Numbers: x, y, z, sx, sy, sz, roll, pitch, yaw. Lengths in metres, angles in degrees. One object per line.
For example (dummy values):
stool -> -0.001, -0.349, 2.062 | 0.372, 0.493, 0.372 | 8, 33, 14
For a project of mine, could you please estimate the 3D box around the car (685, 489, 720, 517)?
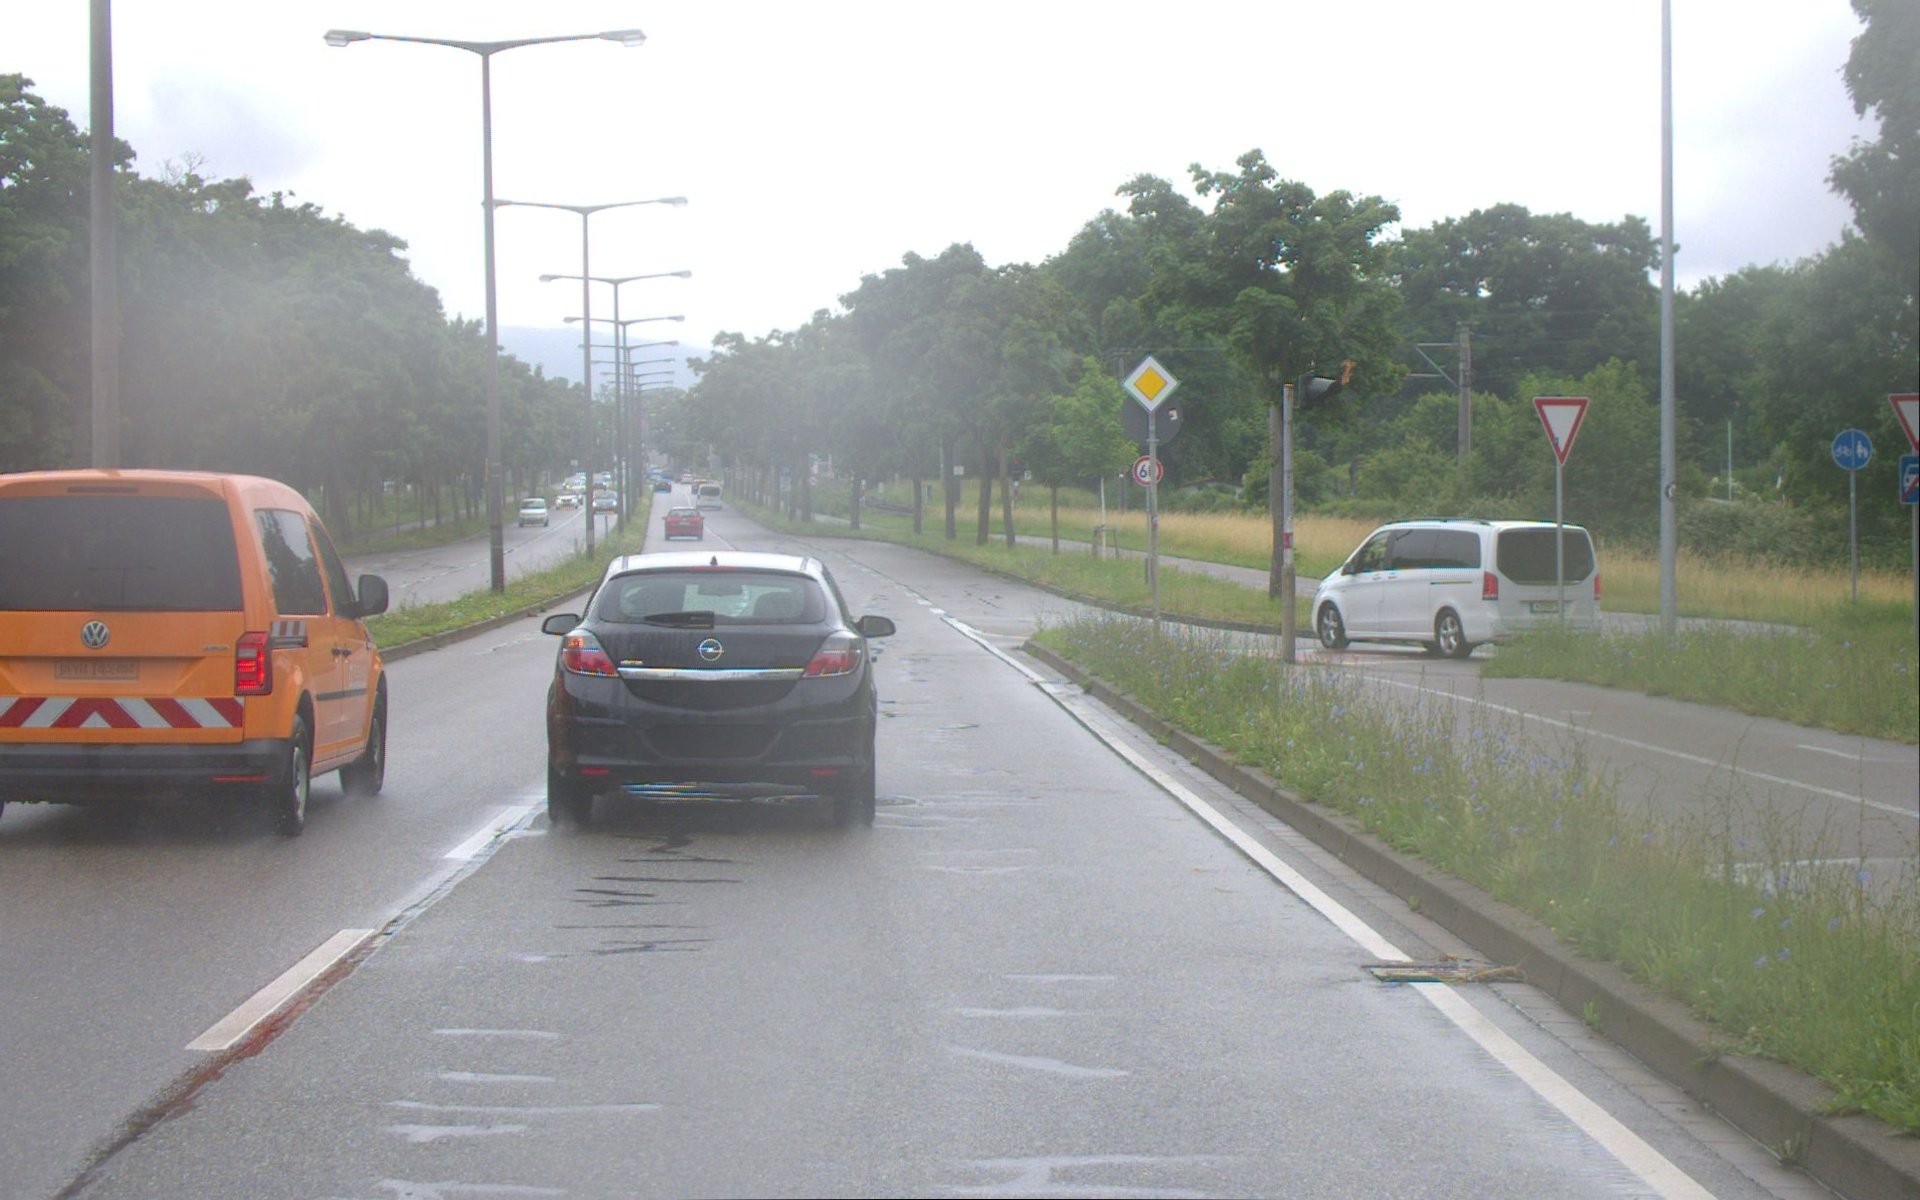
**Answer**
car -> -19.389, -7.261, 258.911 | 2.515, 2.045, 5.294 | -1, 1, -4

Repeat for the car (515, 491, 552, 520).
car -> -23.735, -5.262, 191.282 | 1.683, 1.548, 4.001 | 1, 1, -2

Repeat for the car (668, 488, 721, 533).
car -> -11.514, -3.871, 149.274 | 1.993, 1.873, 4.000 | 1, 1, -1

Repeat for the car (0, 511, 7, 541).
car -> -49.019, -3.623, 169.473 | 3.834, 1.447, 1.525 | -1, 2, -18

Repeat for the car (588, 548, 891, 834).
car -> -1.123, 0.419, 18.802 | 1.463, 1.324, 3.758 | 1, 2, -1

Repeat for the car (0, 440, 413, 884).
car -> -4.060, 0.223, 18.250 | 1.734, 2.012, 4.850 | 2, 1, -3

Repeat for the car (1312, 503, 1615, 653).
car -> 6.879, -0.337, 47.472 | 2.058, 1.968, 4.610 | 0, 1, -22
